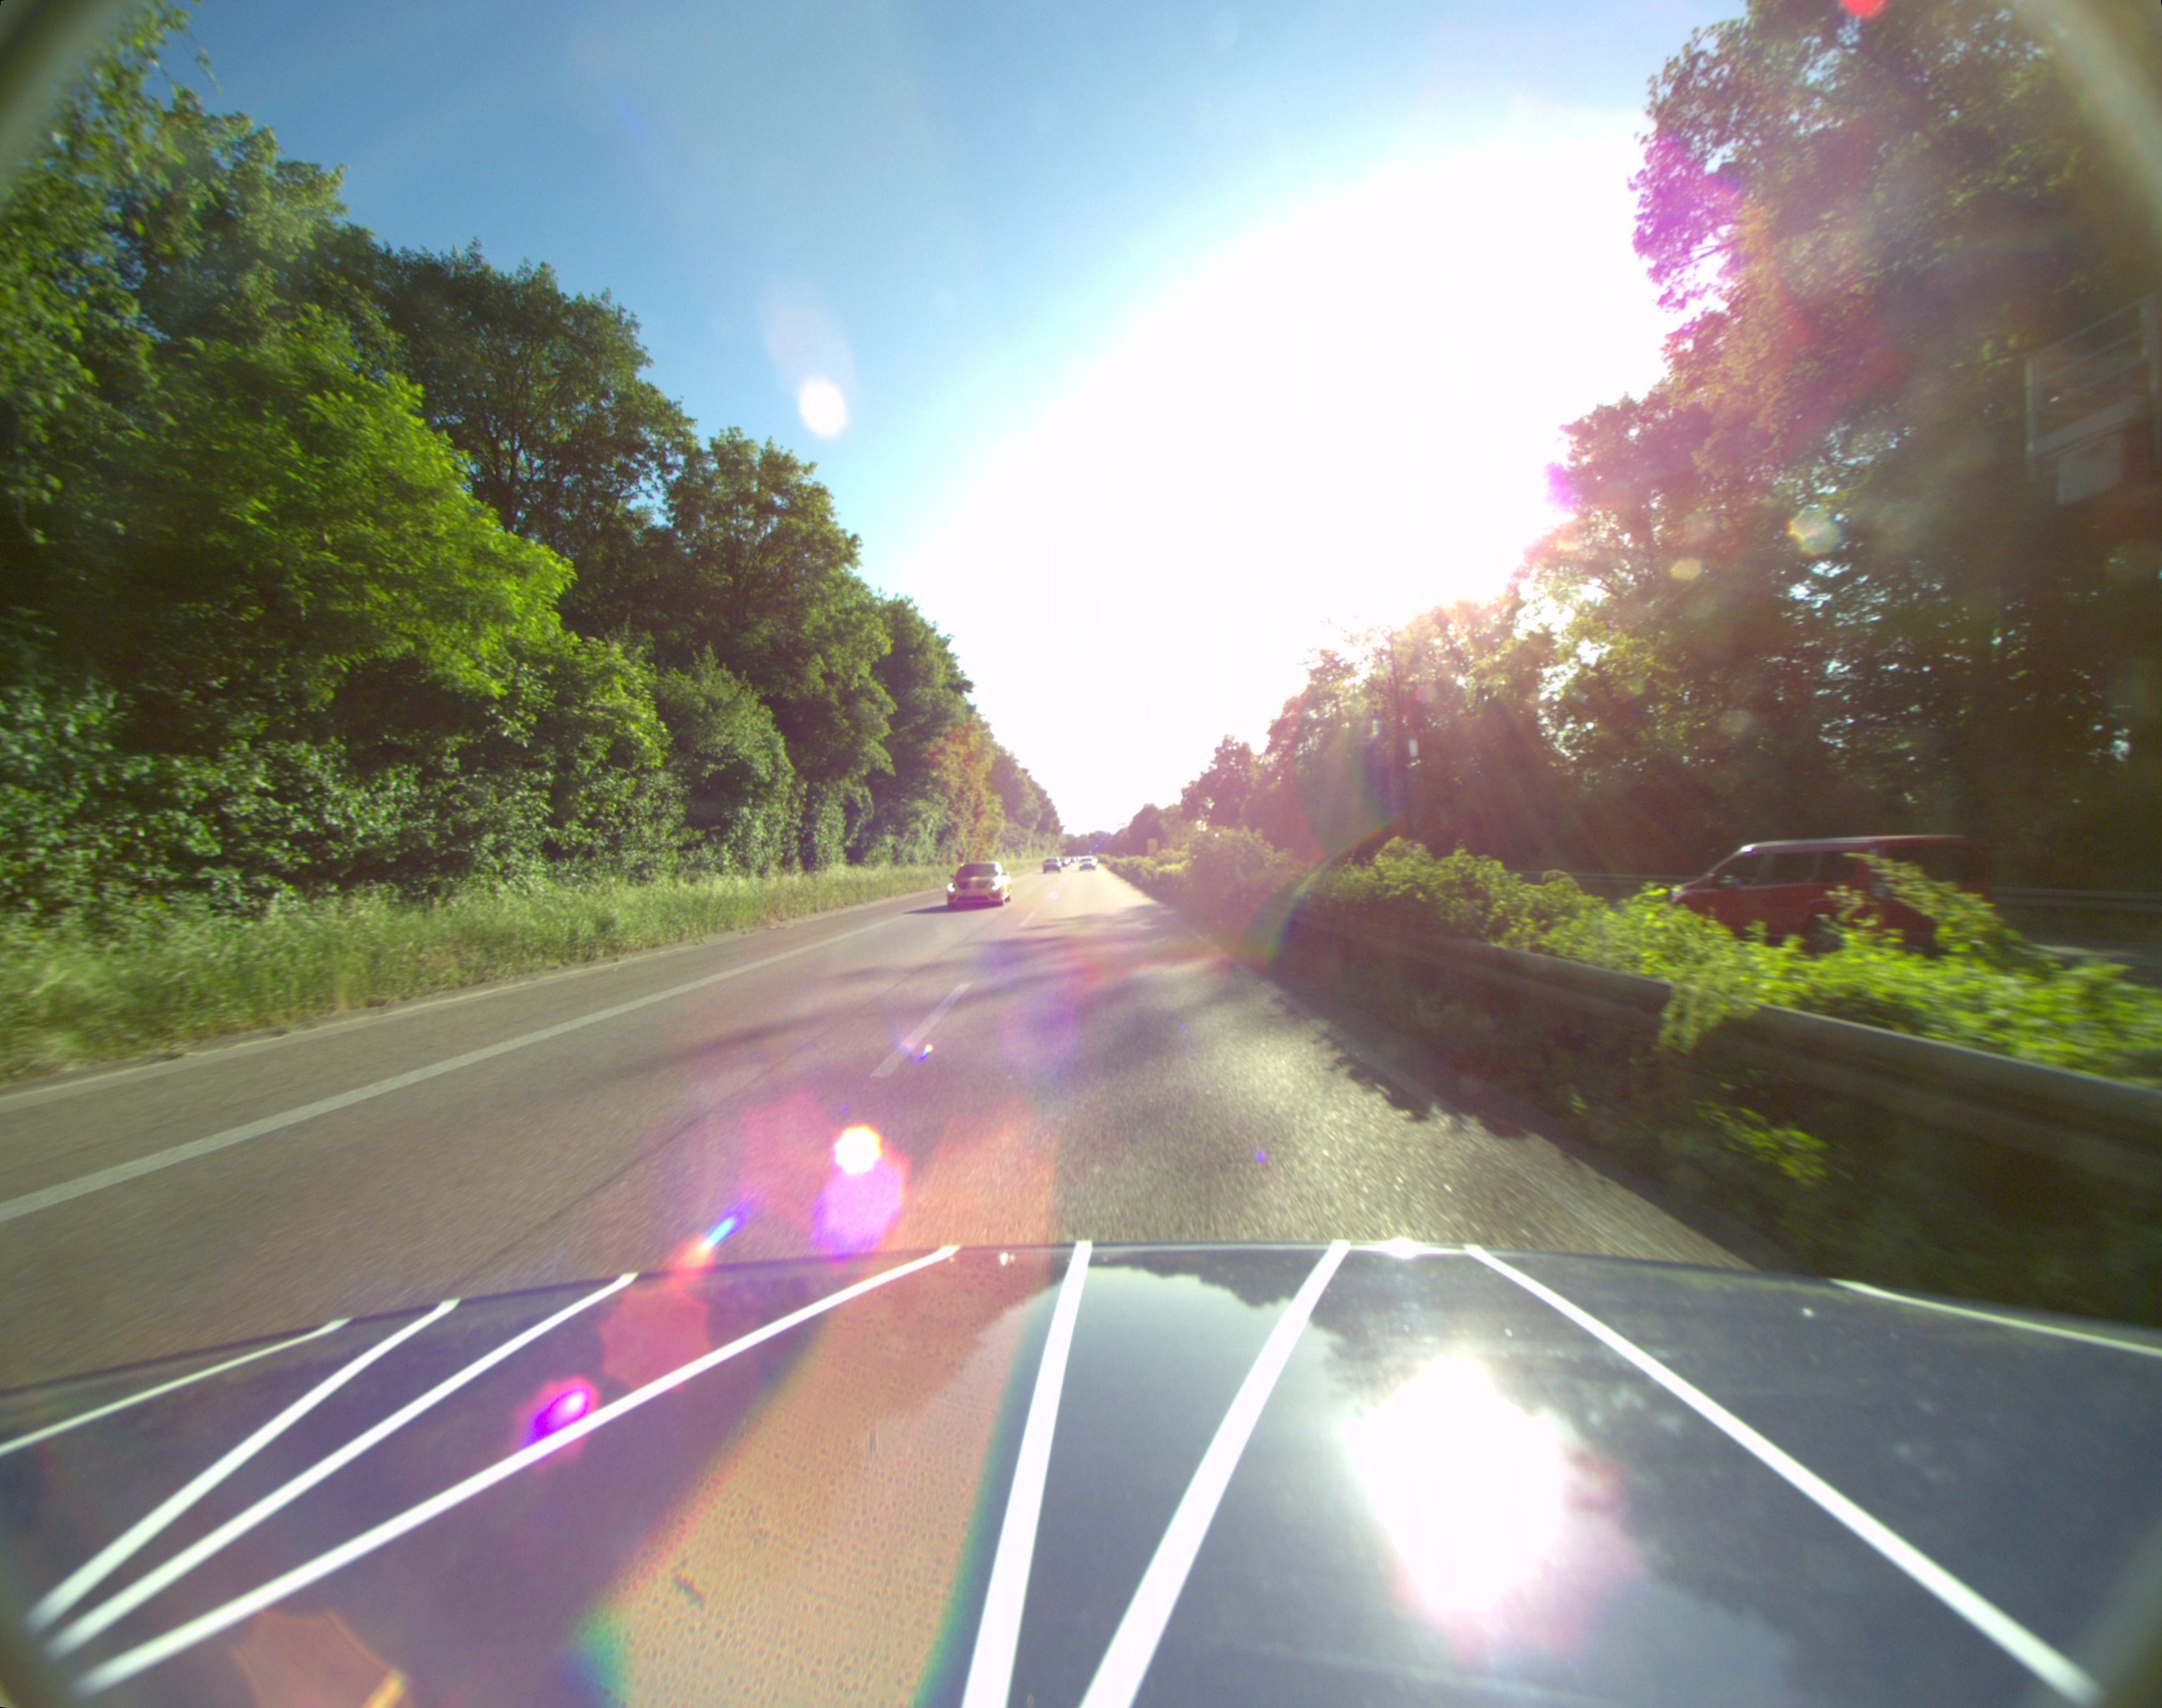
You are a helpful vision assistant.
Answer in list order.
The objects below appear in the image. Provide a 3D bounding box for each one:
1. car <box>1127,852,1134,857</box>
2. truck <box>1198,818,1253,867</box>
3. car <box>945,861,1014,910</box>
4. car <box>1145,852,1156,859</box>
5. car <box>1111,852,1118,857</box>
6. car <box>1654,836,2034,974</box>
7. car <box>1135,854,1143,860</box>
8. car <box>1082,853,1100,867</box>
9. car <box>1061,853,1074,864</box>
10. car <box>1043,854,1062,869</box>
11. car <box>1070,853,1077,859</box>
[{"bbox_3d":[14.586,0.199,223.966,1.752,1.418,4.135,-2,1,0],"label":"car"},{"bbox_3d":[12.807,-1.049,68.364,2.776,3.932,11.465,-2,1,1],"label":"truck"},{"bbox_3d":[-3.375,1.014,25.992,1.795,1.440,3.877,-2,0,0],"label":"car"},{"bbox_3d":[14.049,0.359,153.500,1.737,1.400,4.556,-2,0,1],"label":"car"},{"bbox_3d":[10.468,0.009,237.548,1.752,1.417,5.204,-2,1,0],"label":"car"},{"bbox_3d":[12.005,0.662,12.508,1.721,1.800,4.525,-2,1,1],"label":"car"},{"bbox_3d":[15.001,0.771,195.976,1.649,1.215,4.262,-2,0,0],"label":"car"},{"bbox_3d":[1.068,0.647,84.340,1.890,1.440,3.878,-2,0,1],"label":"car"},{"bbox_3d":[-2.050,0.675,116.542,1.795,1.440,3.877,-2,0,0],"label":"car"},{"bbox_3d":[-2.861,0.763,77.830,1.795,1.440,3.877,-2,0,0],"label":"car"},{"bbox_3d":[-1.855,0.528,195.910,1.795,1.440,3.877,-2,0,0],"label":"car"}]
